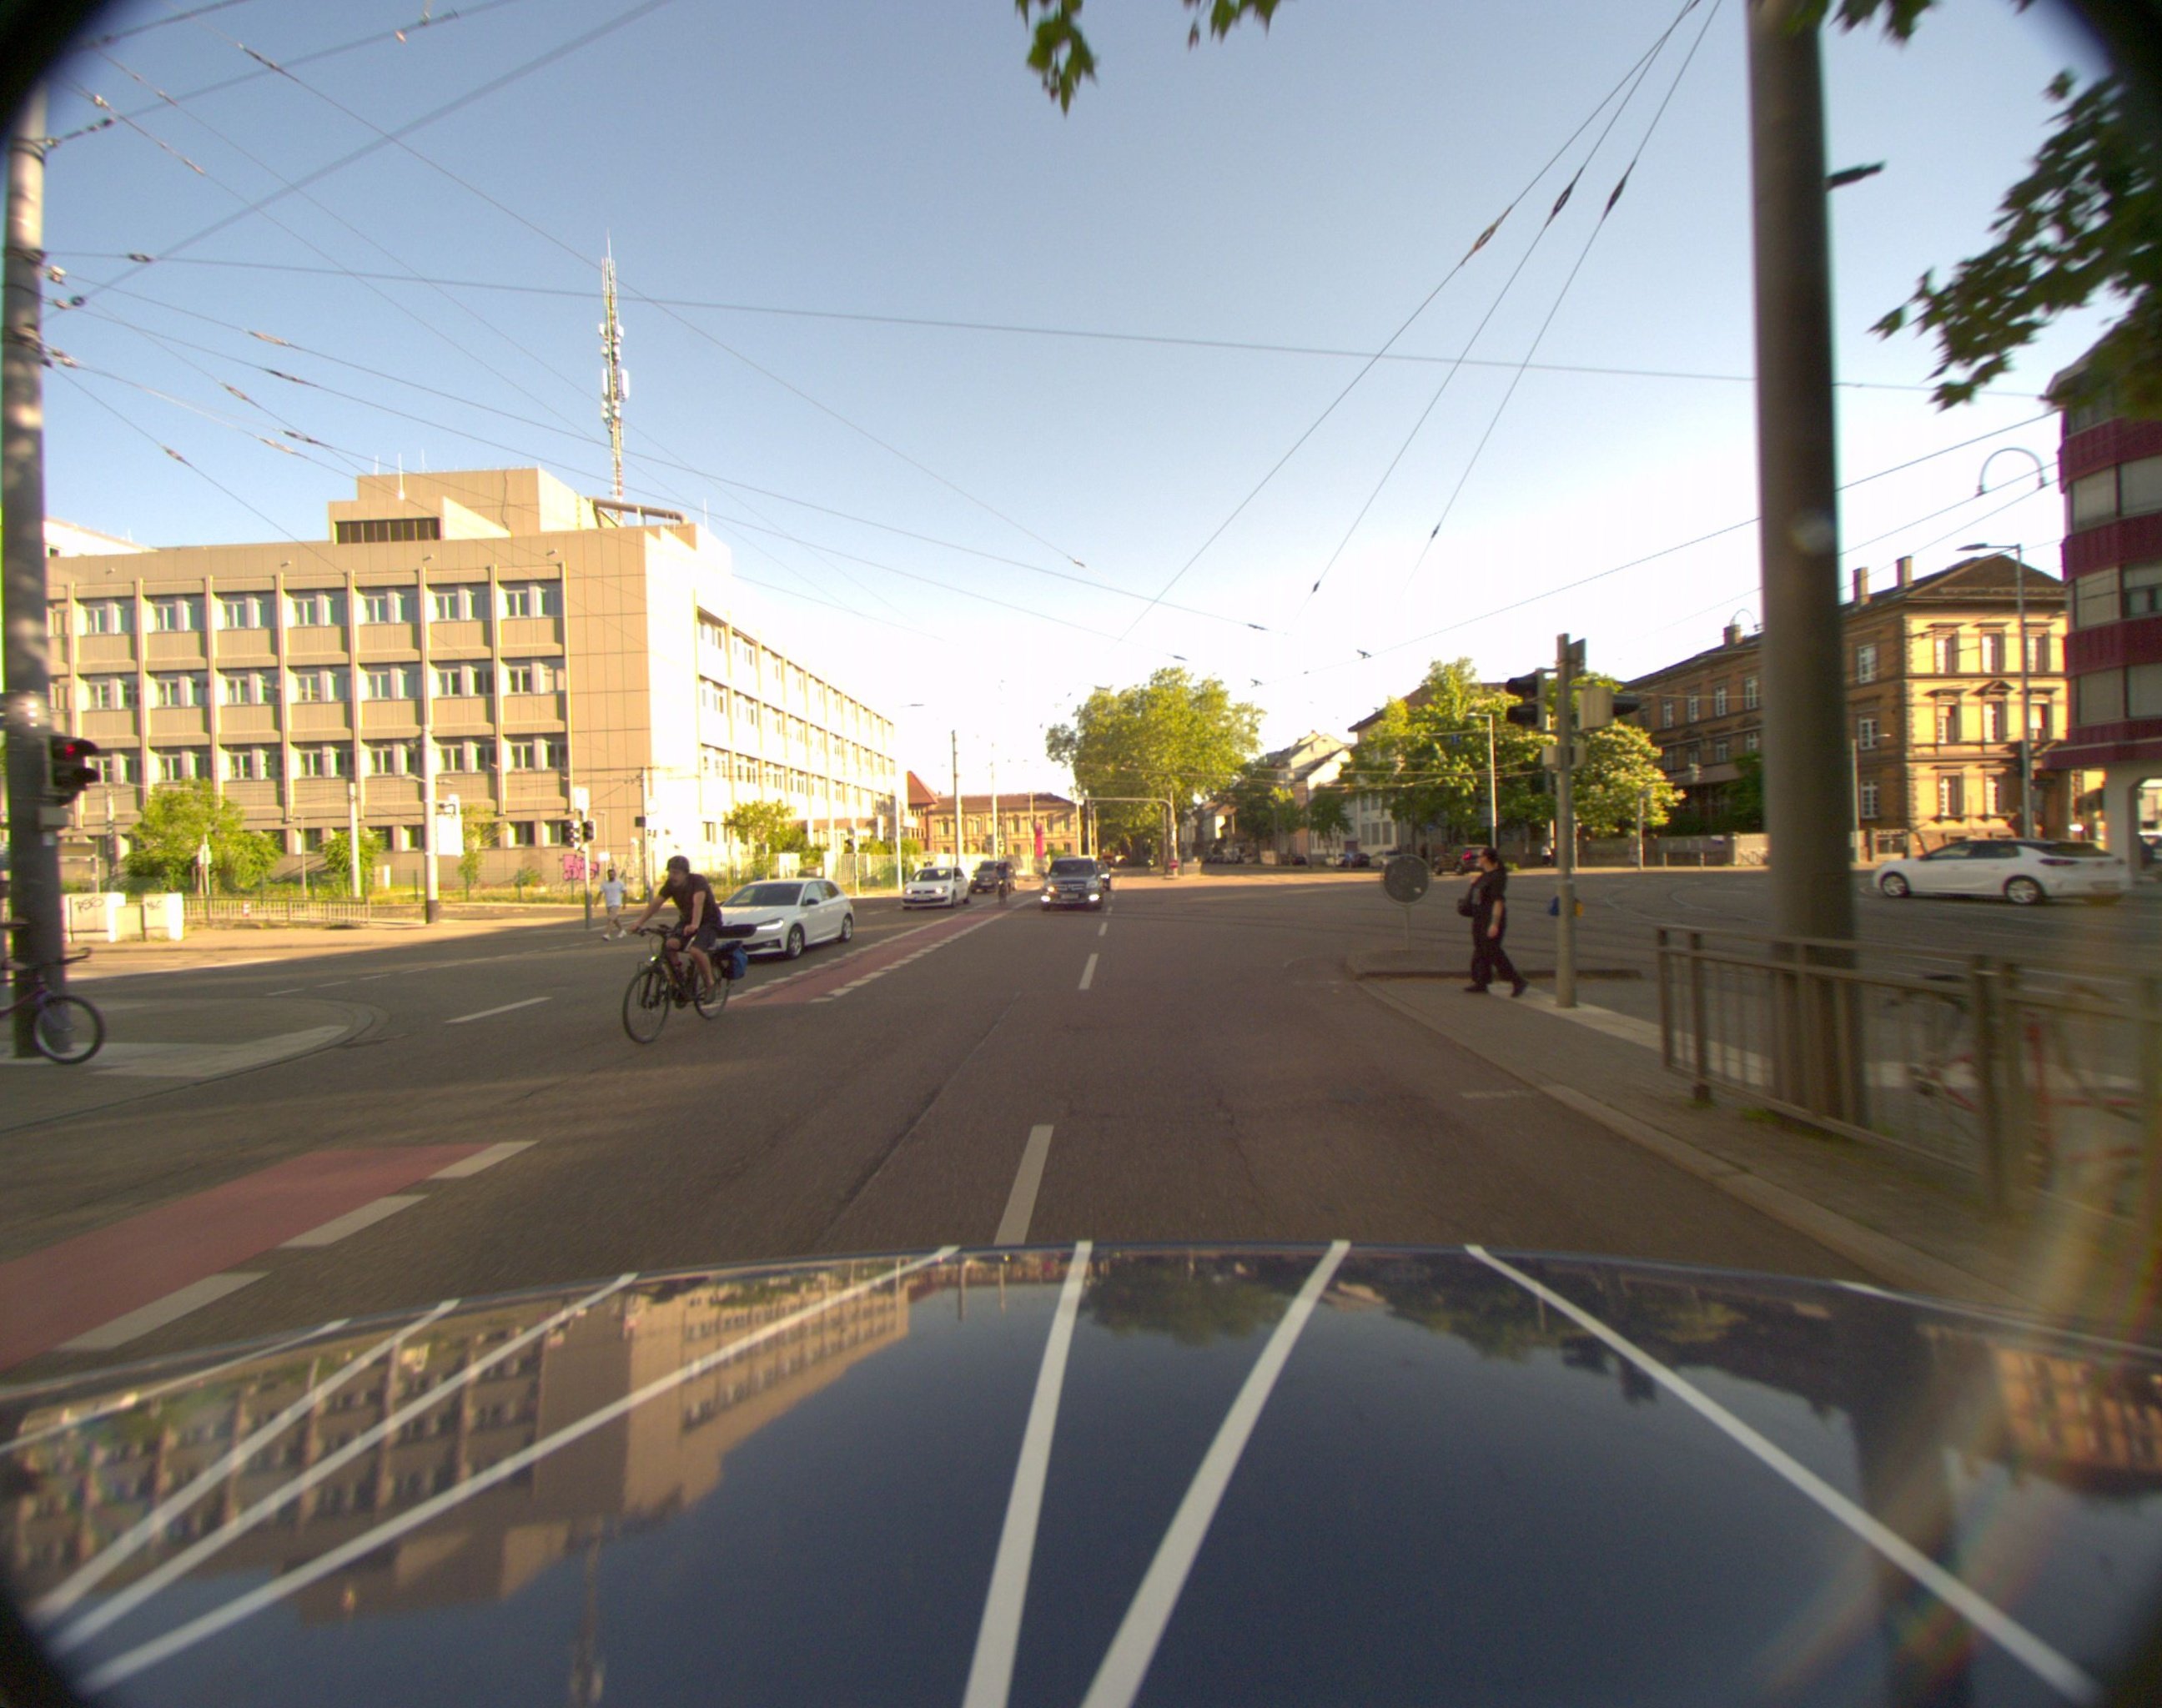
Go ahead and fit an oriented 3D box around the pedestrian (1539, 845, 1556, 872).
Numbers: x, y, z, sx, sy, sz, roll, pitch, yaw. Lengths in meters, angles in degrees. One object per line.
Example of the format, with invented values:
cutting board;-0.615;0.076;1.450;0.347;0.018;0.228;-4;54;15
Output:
pedestrian;30.184;0.289;49.178;0.569;1.655;0.631;-4;0;-15

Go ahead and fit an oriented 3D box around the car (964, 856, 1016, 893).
car;-4.466;0.954;37.902;1.793;1.633;4.302;-4;0;3

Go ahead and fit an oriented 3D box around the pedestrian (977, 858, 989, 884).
pedestrian;-6.611;1.141;51.456;0.592;1.752;0.771;-1;0;8

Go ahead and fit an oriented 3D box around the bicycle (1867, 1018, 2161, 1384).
bicycle;3.515;1.148;2.588;0.396;0.943;1.352;-1;-3;9

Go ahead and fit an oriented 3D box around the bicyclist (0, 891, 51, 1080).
bicyclist;-10.114;1.189;6.803;0.865;1.662;0.650;-1;0;-33

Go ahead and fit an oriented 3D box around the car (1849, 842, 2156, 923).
car;20.667;0.587;17.401;1.959;1.585;4.261;-1;0;3

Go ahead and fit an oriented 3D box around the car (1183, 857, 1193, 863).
car;29.308;1.590;207.426;2.087;1.531;4.009;-4;0;0

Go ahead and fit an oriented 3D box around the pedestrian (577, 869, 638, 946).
pedestrian;-11.705;1.302;18.818;0.780;1.813;1.215;-1;0;-4

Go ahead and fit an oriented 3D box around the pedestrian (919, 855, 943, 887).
pedestrian;-8.520;0.957;43.115;1.084;1.802;0.735;-2;1;-41

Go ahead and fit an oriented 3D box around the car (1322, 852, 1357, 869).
car;26.537;0.665;78.177;2.087;1.481;3.997;-4;0;0

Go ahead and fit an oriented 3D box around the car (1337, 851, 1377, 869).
car;26.190;0.580;72.195;2.087;1.493;4.457;-4;0;0

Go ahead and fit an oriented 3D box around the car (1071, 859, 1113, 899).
car;0.607;1.178;37.165;1.793;1.694;4.302;-4;0;3

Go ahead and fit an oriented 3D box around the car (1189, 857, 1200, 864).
car;29.497;1.743;197.102;2.087;1.531;4.256;-4;0;0

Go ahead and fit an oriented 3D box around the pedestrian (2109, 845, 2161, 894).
pedestrian;30.792;0.432;22.047;0.859;1.376;0.836;-1;0;-7

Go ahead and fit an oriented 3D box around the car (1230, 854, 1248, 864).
car;28.317;0.879;136.323;2.087;1.663;4.533;-4;0;0

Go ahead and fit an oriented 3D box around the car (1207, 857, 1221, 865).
car;27.816;1.483;159.199;2.087;1.531;4.517;-4;0;0

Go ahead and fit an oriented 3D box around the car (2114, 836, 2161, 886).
car;35.712;0.187;23.914;3.999;1.546;1.999;-1;0;-5

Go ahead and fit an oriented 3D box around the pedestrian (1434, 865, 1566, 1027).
pedestrian;4.234;0.895;7.752;1.047;1.535;0.695;-1;0;18

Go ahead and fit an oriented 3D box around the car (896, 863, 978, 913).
car;-5.032;1.143;27.118;1.793;1.493;4.302;-4;0;3

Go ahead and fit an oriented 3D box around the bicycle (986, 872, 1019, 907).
bicycle;-2.771;1.225;26.992;0.764;1.137;2.307;-1;0;4

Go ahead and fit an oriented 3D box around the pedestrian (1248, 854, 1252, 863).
pedestrian;31.608;0.835;141.900;0.561;1.798;0.705;-1;0;3

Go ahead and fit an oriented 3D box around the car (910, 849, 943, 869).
car;-15.123;0.500;74.772;1.998;1.831;4.786;-1;0;3

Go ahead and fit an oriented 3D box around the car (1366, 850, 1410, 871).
car;26.376;0.553;65.407;2.087;1.609;4.098;-4;0;0

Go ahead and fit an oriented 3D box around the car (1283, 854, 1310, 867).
car;26.831;0.823;94.763;2.087;1.461;4.579;-4;0;0

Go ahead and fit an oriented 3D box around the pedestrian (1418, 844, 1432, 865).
pedestrian;30.193;0.041;66.704;0.736;1.742;1.020;-1;0;0

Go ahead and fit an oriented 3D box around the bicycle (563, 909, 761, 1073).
bicycle;-4.033;1.251;7.539;0.651;1.273;1.967;-1;0;8

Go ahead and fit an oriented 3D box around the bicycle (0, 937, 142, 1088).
bicycle;-10.045;1.435;6.840;1.870;1.273;0.650;2;-1;-33

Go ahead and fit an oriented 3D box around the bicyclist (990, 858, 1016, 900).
bicyclist;-2.776;0.880;27.058;0.727;1.413;0.859;-3;0;4

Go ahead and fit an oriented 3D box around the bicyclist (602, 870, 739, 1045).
bicyclist;-4.043;0.967;7.563;0.651;1.593;1.089;-1;0;8

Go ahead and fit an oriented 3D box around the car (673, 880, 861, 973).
car;-5.838;1.276;14.712;1.705;1.381;4.076;-2;0;3

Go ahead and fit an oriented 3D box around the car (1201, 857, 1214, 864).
car;28.676;1.522;172.281;2.087;1.531;5.105;-4;0;0

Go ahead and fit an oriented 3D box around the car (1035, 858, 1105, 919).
car;-0.275;1.001;24.082;1.908;1.634;4.517;-4;0;1

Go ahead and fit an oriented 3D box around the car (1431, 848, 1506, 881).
car;21.059;0.540;41.465;1.960;1.662;4.261;-1;0;1

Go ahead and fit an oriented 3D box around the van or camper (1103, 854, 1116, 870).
van or camper;4.774;1.345;127.585;1.998;2.578;5.627;-3;0;3
